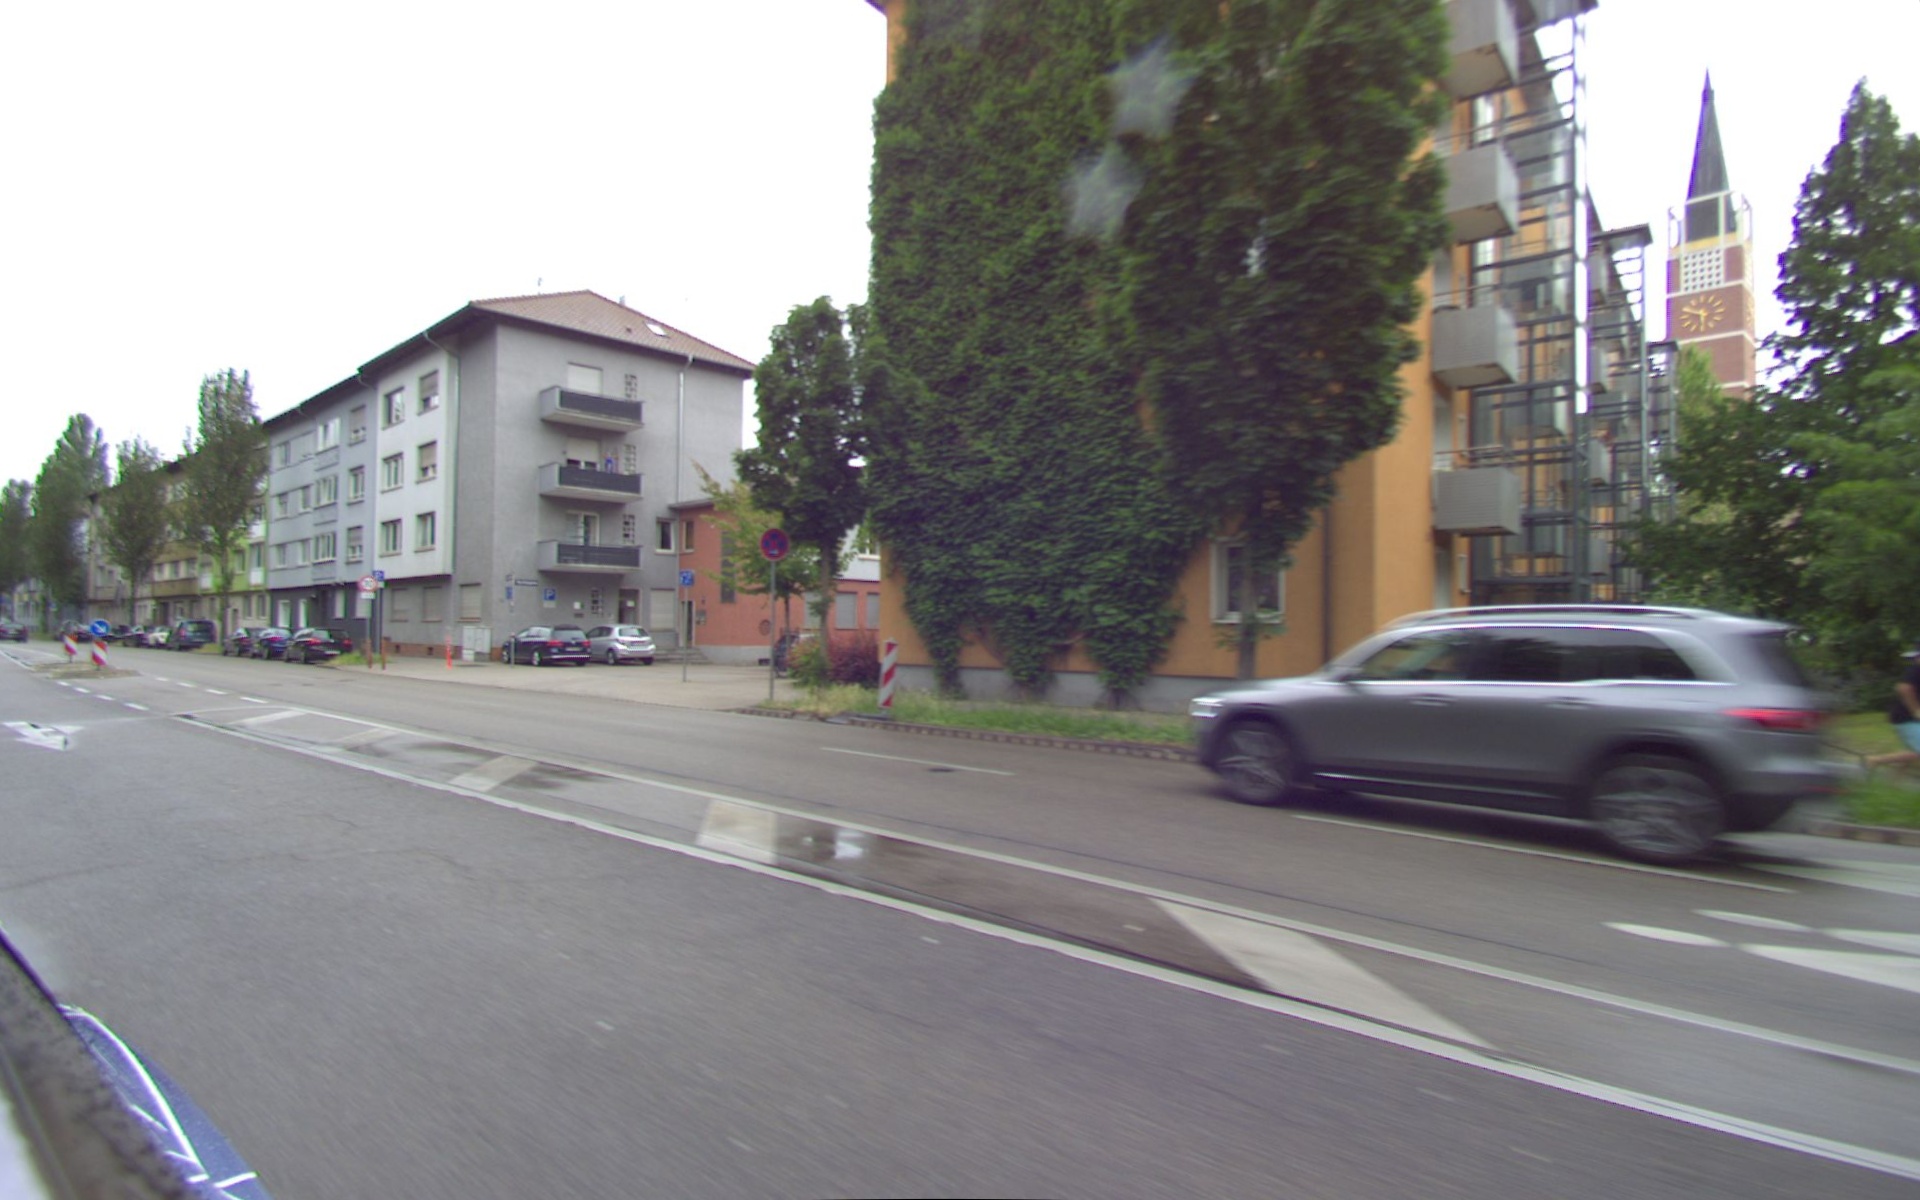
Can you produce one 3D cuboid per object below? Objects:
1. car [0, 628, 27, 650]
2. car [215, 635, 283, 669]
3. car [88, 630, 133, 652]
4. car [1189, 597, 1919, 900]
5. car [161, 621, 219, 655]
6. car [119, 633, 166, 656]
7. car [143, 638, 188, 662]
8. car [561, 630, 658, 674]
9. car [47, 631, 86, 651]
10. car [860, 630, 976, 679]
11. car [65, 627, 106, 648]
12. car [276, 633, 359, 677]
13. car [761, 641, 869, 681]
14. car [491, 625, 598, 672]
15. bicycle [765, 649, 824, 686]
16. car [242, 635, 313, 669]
[{"bbox_3d":[-67.621,2.766,71.775,4.290,1.527,1.791,-2,-5,43],"label":"car"},{"bbox_3d":[-34.226,2.496,48.663,4.315,1.492,1.703,-1,-5,42],"label":"car"},{"bbox_3d":[-60.928,2.913,72.584,3.998,1.524,1.843,-2,-3,41],"label":"car"},{"bbox_3d":[4.231,0.908,7.811,1.900,1.643,4.505,5,-5,-44],"label":"car"},{"bbox_3d":[-44.049,2.131,57.845,4.315,1.884,1.879,-1,-2,42],"label":"car"},{"bbox_3d":[-52.034,2.848,64.408,4.250,1.356,1.527,-1,-4,40],"label":"car"},{"bbox_3d":[-48.188,3.021,61.351,3.447,1.387,1.526,-2,-4,42],"label":"car"},{"bbox_3d":[-13.427,1.956,38.659,4.229,1.537,1.711,-1,-3,43],"label":"car"},{"bbox_3d":[-72.662,3.324,82.307,4.171,1.612,1.843,-2,-3,41],"label":"car"},{"bbox_3d":[-1.395,1.880,34.917,1.900,1.604,3.947,-3,-4,39],"label":"car"},{"bbox_3d":[-67.742,2.880,78.388,4.171,1.579,1.843,-2,-3,41],"label":"car"},{"bbox_3d":[-25.978,2.168,40.861,4.248,1.556,1.827,-1,0,44],"label":"car"},{"bbox_3d":[-5.662,2.388,39.871,1.904,1.423,3.946,1,-2,40],"label":"car"},{"bbox_3d":[-15.099,1.703,36.663,4.635,1.497,1.831,-1,0,43],"label":"car"},{"bbox_3d":[-5.053,2.037,30.868,1.931,1.066,0.525,-1,-3,35],"label":"bicycle"},{"bbox_3d":[-30.194,2.271,44.752,3.926,1.394,1.703,-1,-3,42],"label":"car"}]
